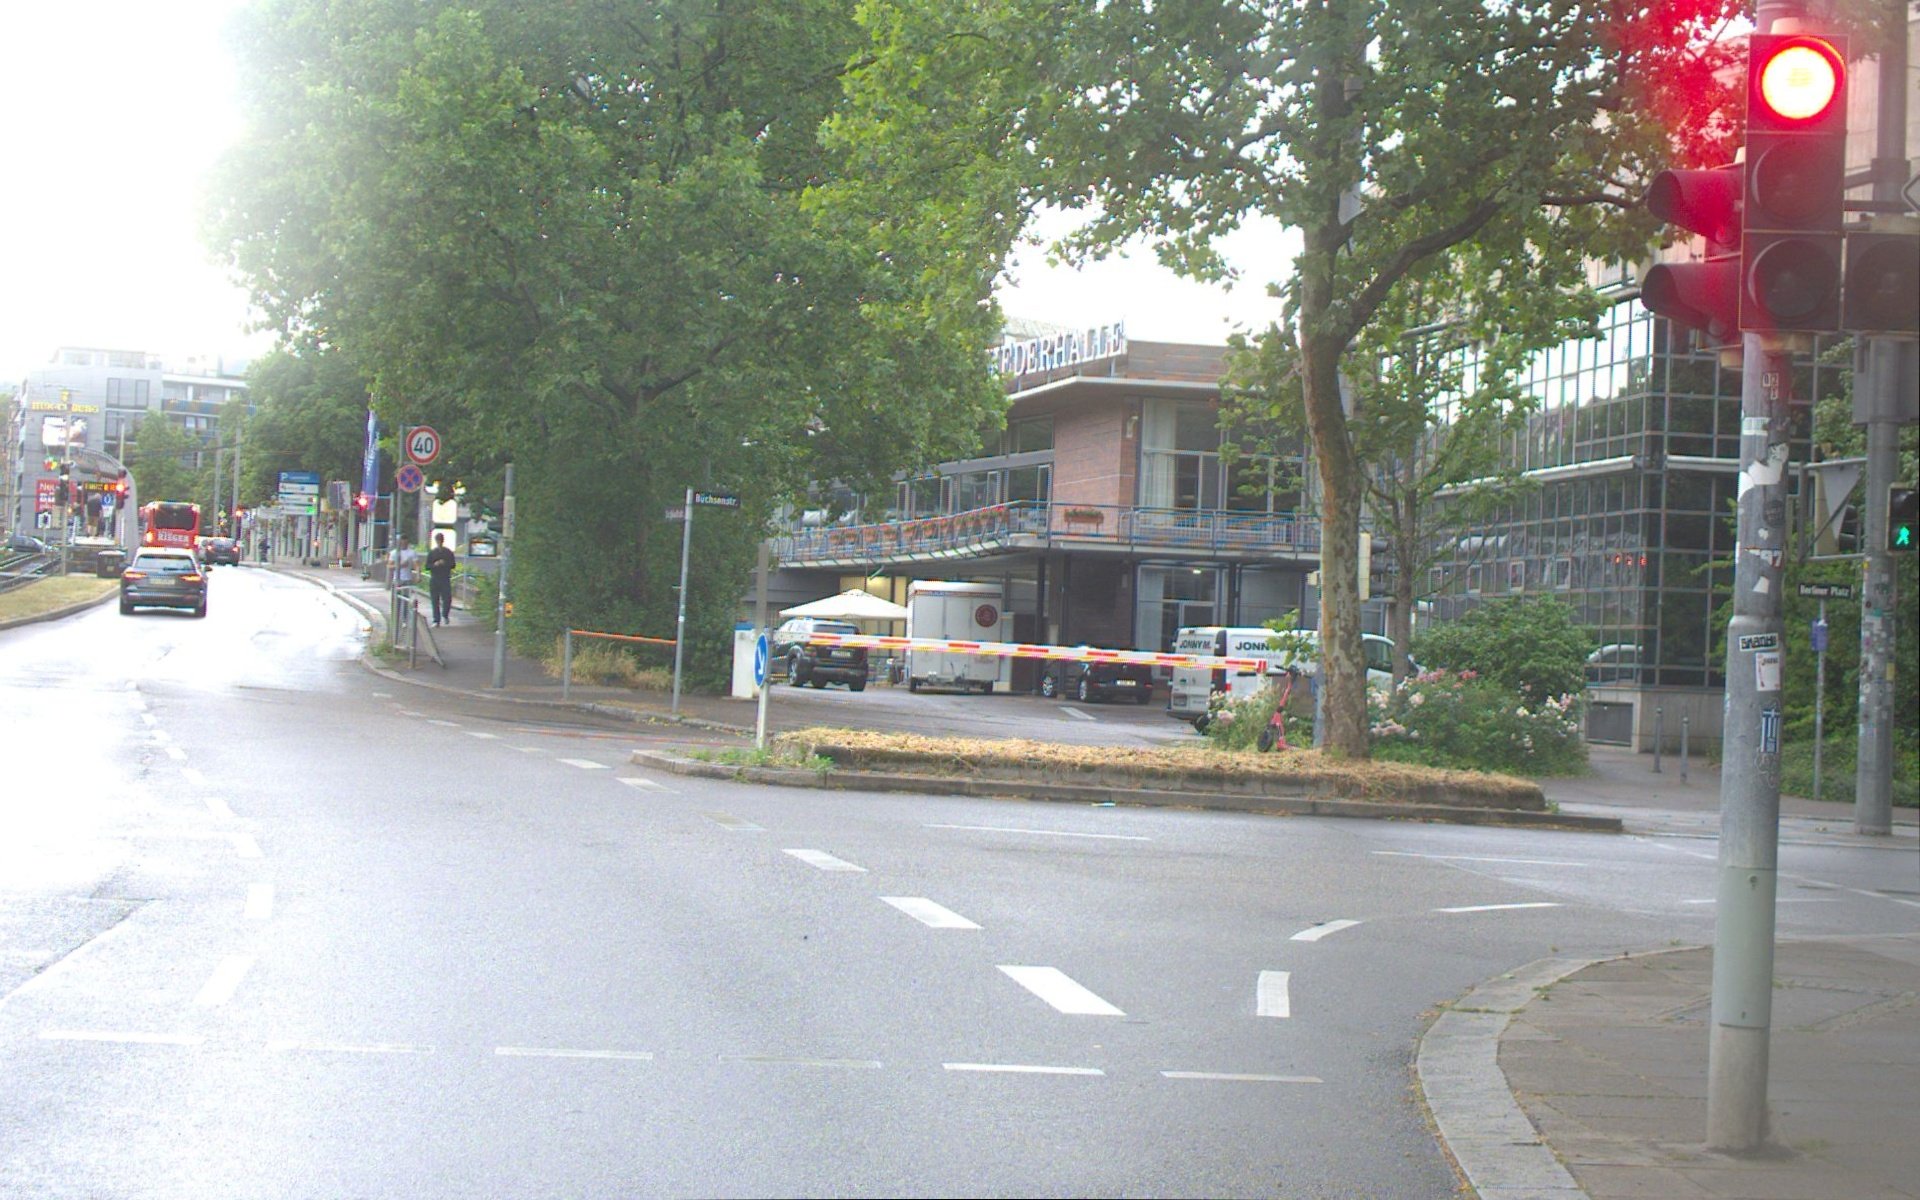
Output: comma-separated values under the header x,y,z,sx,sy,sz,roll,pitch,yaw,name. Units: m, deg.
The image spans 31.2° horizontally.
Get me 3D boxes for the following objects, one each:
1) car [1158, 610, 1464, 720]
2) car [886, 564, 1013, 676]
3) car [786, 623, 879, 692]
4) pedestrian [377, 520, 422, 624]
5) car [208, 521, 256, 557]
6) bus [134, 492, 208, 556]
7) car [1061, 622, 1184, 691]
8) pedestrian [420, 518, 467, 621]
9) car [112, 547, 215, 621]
x,y,z,sx,sy,sz,roll,pitch,yaw,name
6.363,1.181,62.211,5.198,1.725,1.875,3,1,-25,car
-0.350,0.477,91.401,2.731,2.686,6.923,3,1,-5,car
-3.239,1.460,87.954,2.019,1.546,4.350,3,1,2,car
-10.931,-0.548,67.018,0.814,2.007,1.077,1,0,-8,pedestrian
-38.407,-3.197,181.402,2.362,1.810,5.185,1,1,-13,car
-40.498,-3.851,176.420,3.589,3.160,10.423,1,1,-13,bus
4.178,1.441,89.166,2.019,1.546,4.351,3,1,-13,car
-10.142,-0.599,67.519,0.874,2.007,1.077,1,0,-8,pedestrian
-17.043,-0.362,73.724,1.993,1.514,4.351,1,1,-11,car
